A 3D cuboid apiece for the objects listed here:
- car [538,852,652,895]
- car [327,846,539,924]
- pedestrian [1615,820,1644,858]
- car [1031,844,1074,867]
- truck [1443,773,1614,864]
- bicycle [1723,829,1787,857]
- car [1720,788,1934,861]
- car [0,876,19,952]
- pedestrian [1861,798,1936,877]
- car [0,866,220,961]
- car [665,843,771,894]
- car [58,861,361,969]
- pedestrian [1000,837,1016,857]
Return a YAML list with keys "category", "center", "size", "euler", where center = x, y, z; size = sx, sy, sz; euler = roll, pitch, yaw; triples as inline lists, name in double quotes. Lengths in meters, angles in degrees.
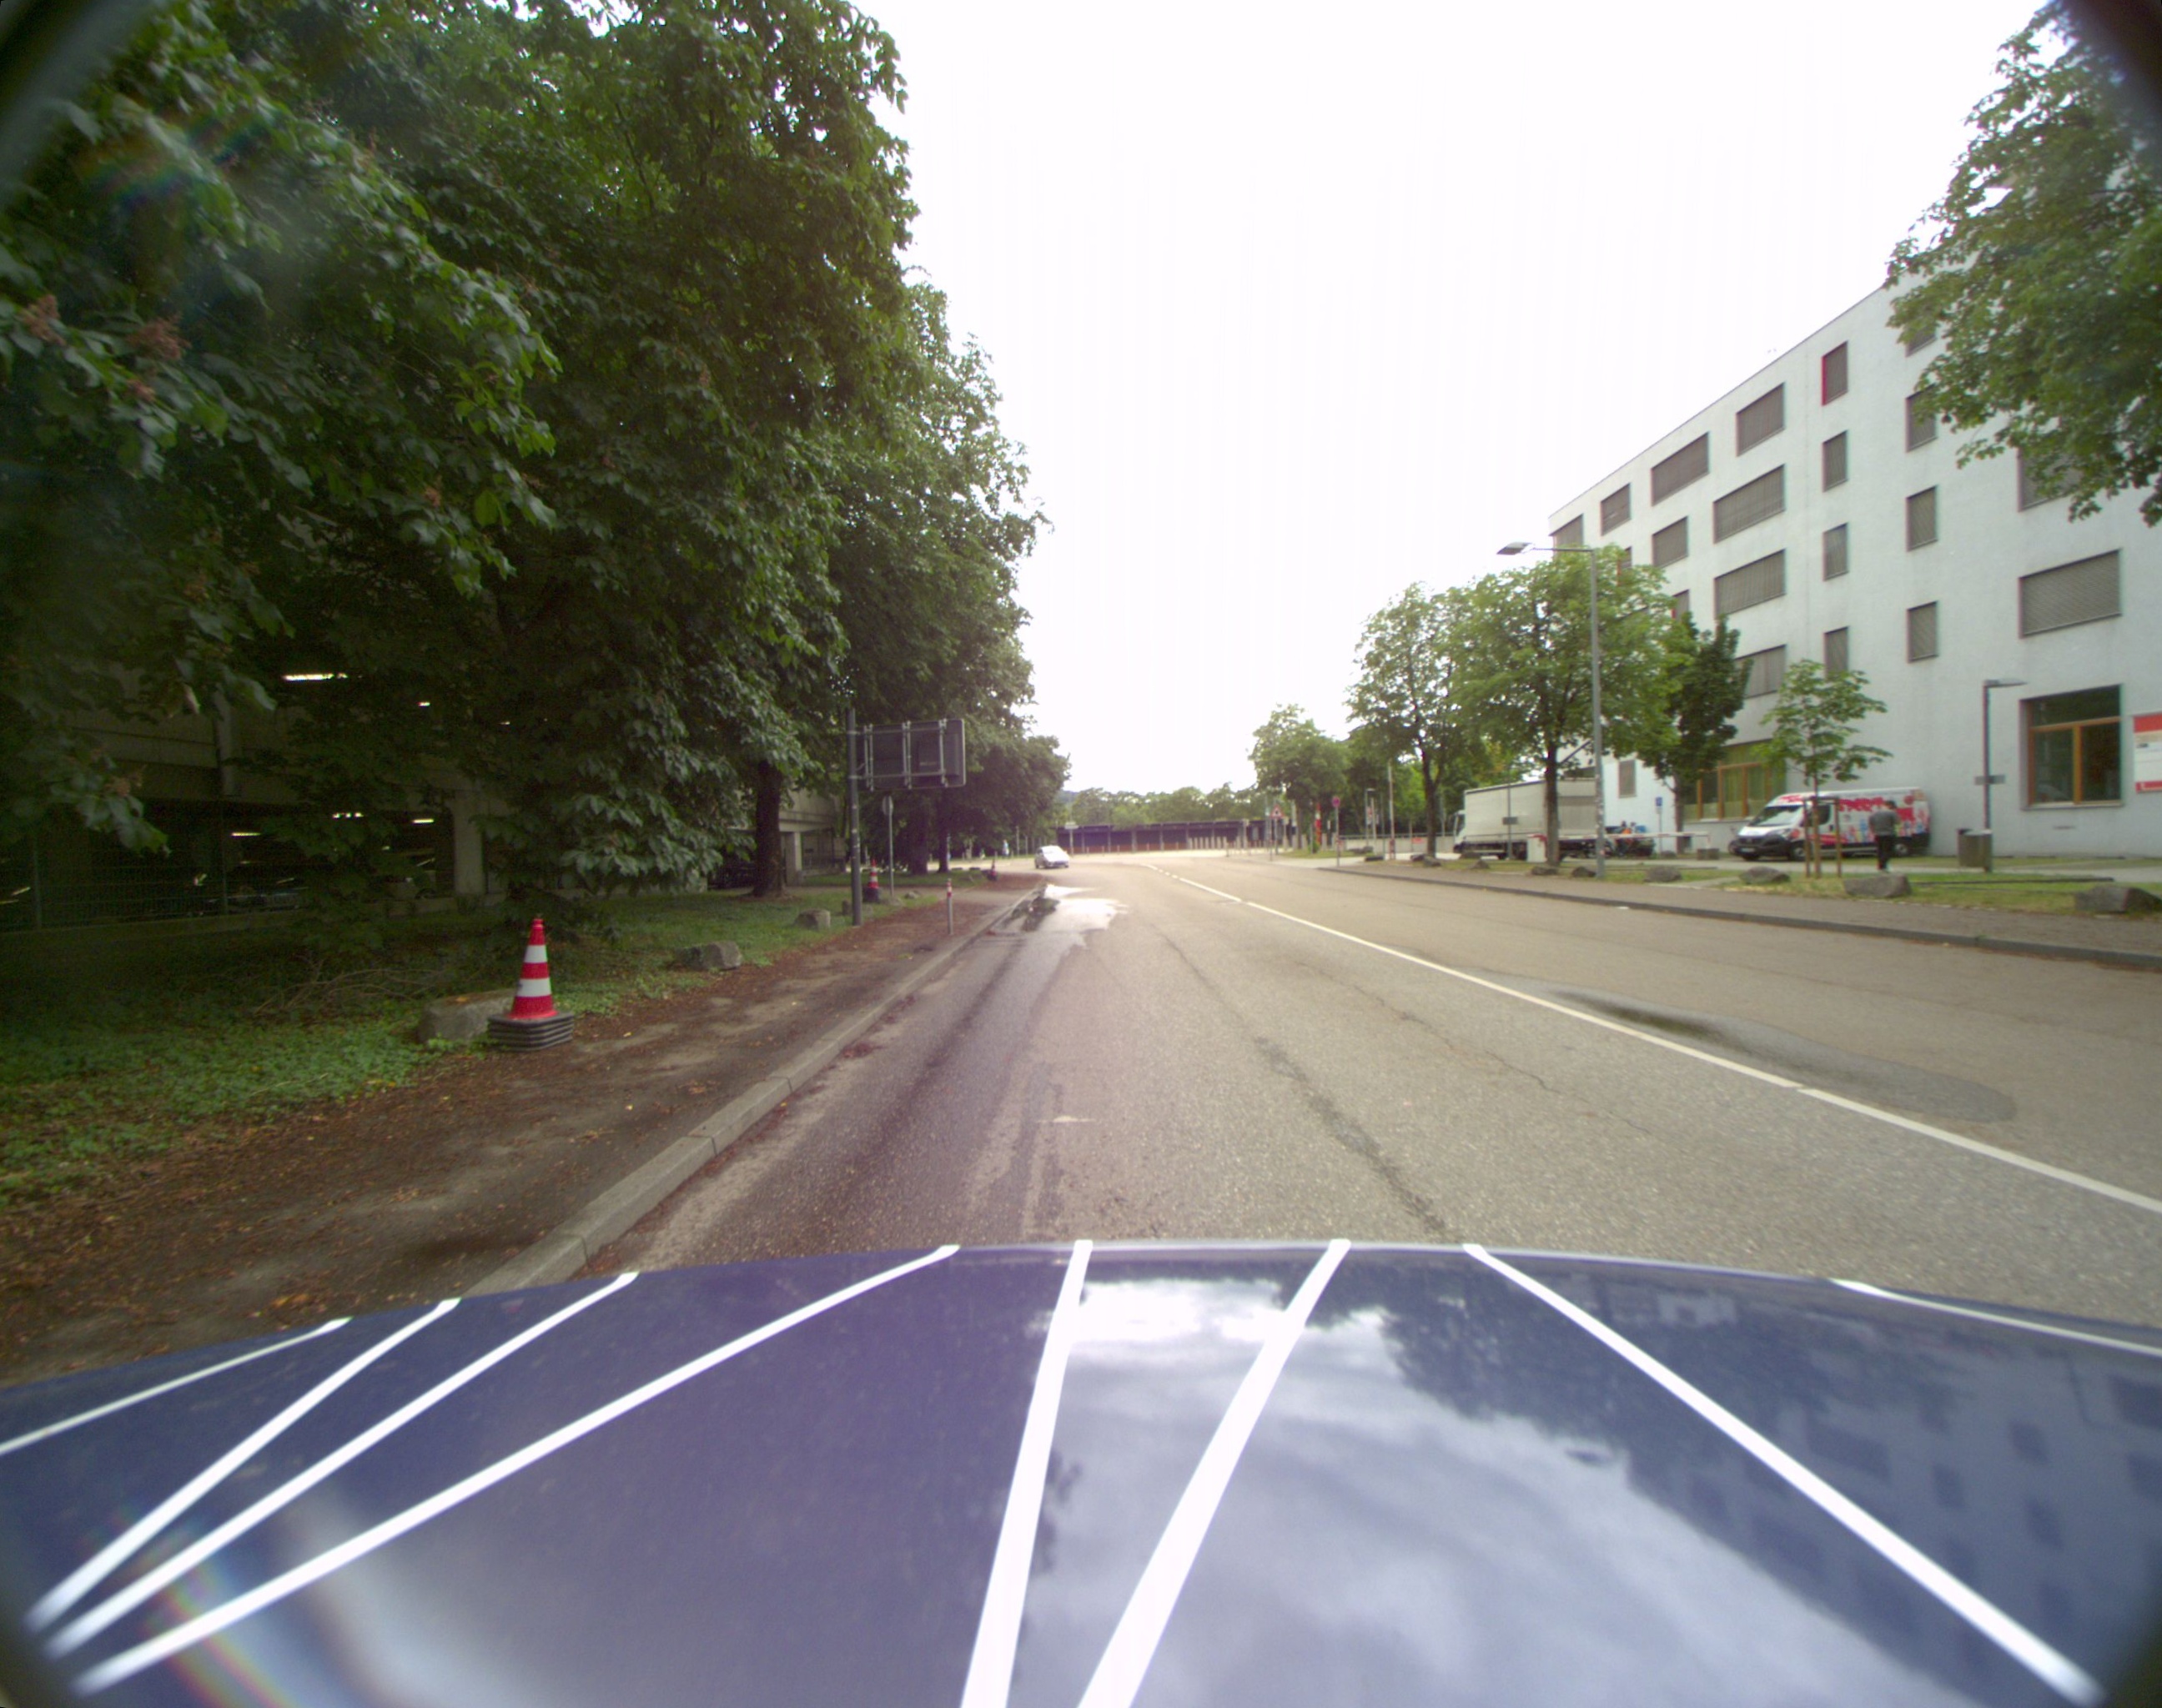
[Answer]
- category: "car"
  center: [-20.022, 0.773, 31.531]
  size: [1.876, 1.445, 3.999]
  euler: [-3, 2, 4]
- category: "car"
  center: [-17.256, 0.719, 20.619]
  size: [1.589, 1.699, 4.666]
  euler: [-3, 2, 1]
- category: "pedestrian"
  center: [23.521, -0.650, 32.606]
  size: [0.886, 1.597, 0.680]
  euler: [-2, 3, 26]
- category: "car"
  center: [-1.984, 0.055, 51.830]
  size: [1.609, 1.448, 3.495]
  euler: [-4, 2, -26]
- category: "truck"
  center: [20.358, -1.589, 35.360]
  size: [2.684, 3.581, 8.360]
  euler: [-3, 2, -2]
- category: "bicycle"
  center: [27.609, -0.462, 31.147]
  size: [2.029, 1.064, 0.613]
  euler: [-3, 2, 4]
- category: "car"
  center: [26.597, -1.042, 27.238]
  size: [5.640, 2.266, 2.078]
  euler: [-3, 2, 0]
- category: "car"
  center: [-22.723, 1.316, 13.733]
  size: [1.721, 1.537, 3.700]
  euler: [-3, 2, -1]
- category: "pedestrian"
  center: [18.130, -0.372, 16.865]
  size: [0.846, 1.662, 0.786]
  euler: [-3, 3, -6]
- category: "car"
  center: [-20.379, 1.144, 15.317]
  size: [1.721, 1.537, 3.700]
  euler: [-3, 2, -1]
- category: "car"
  center: [-14.631, 0.500, 30.966]
  size: [1.924, 1.824, 4.734]
  euler: [-3, 1, 0]
- category: "car"
  center: [-17.498, 1.124, 15.598]
  size: [1.589, 1.699, 3.856]
  euler: [-3, 2, 1]
- category: "pedestrian"
  center: [-6.977, -0.635, 72.600]
  size: [1.200, 1.824, 0.927]
  euler: [-3, 3, 4]
